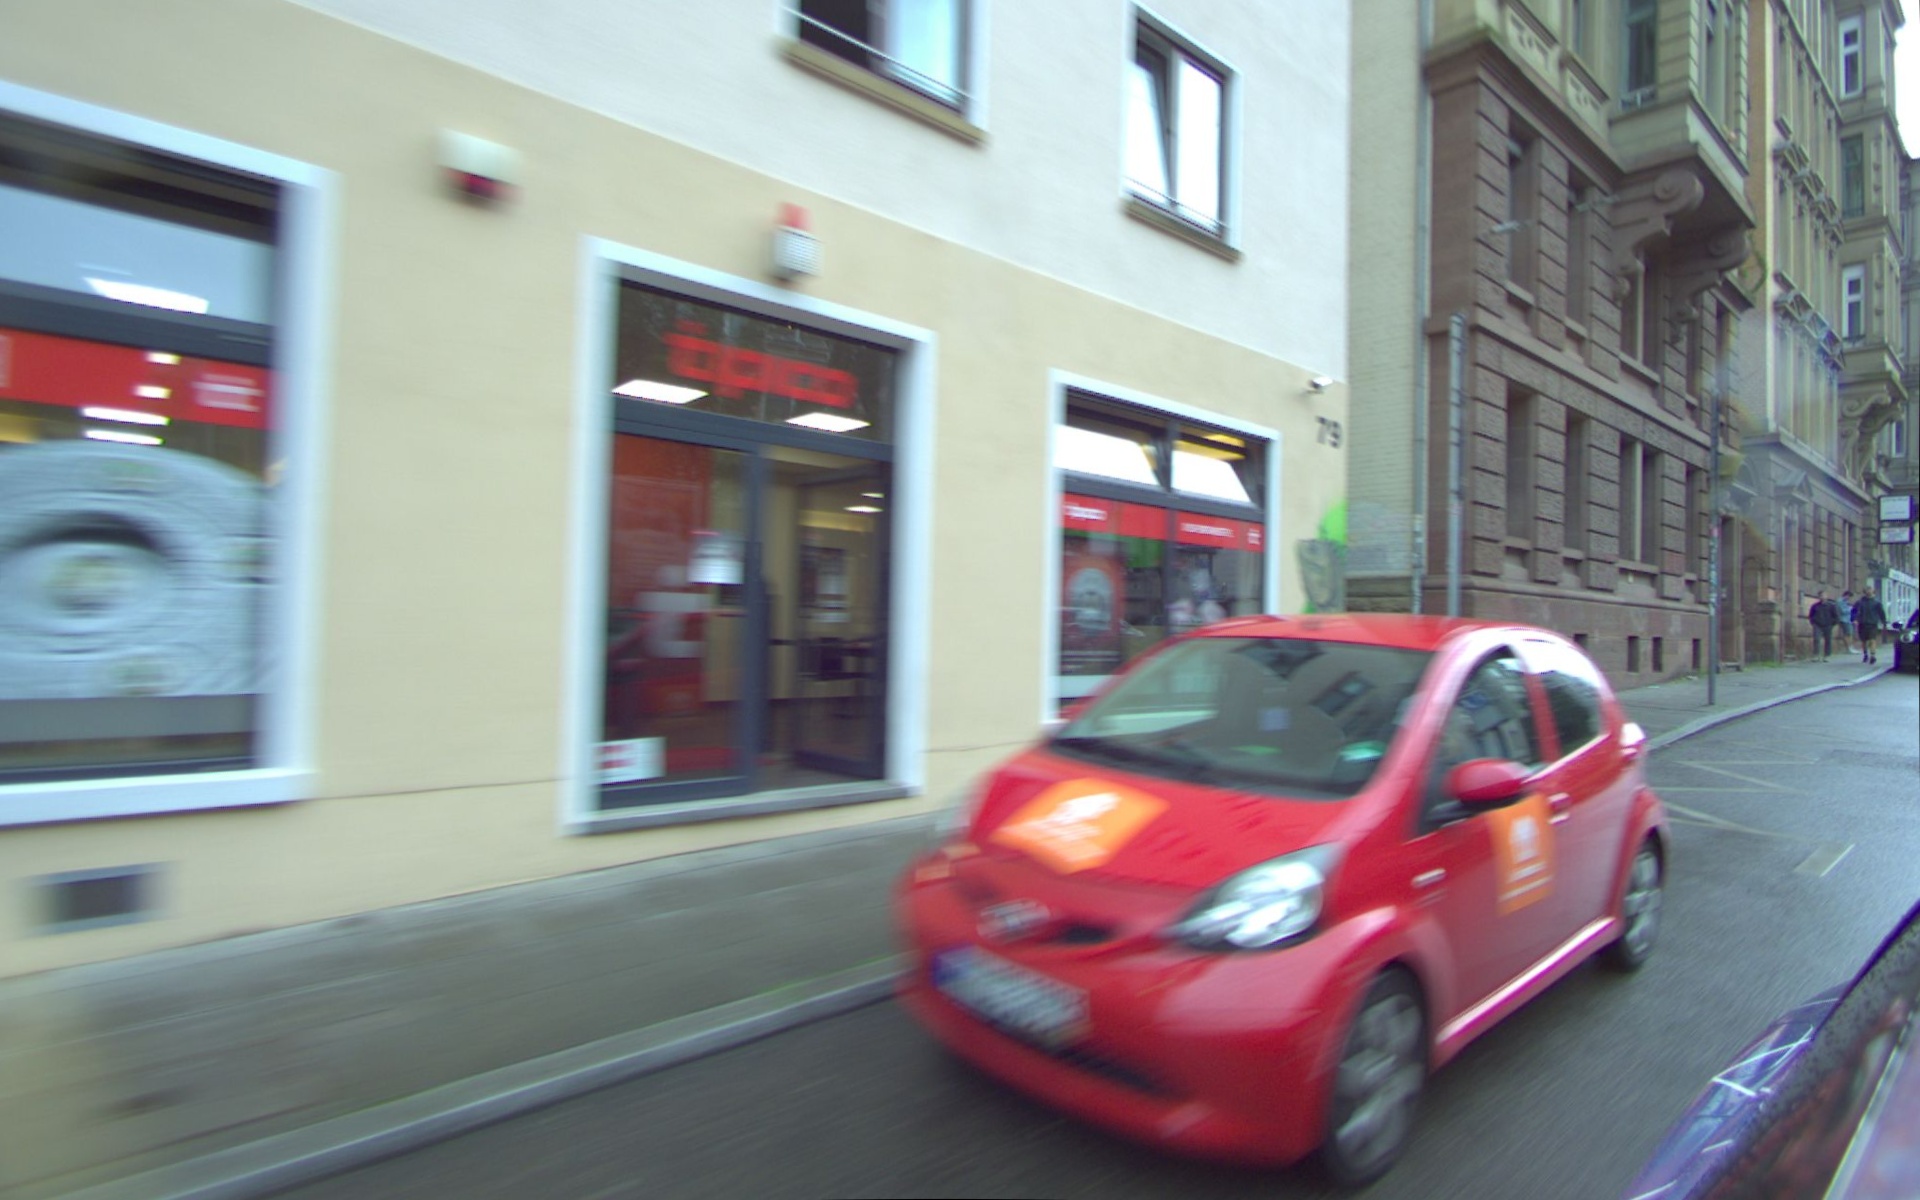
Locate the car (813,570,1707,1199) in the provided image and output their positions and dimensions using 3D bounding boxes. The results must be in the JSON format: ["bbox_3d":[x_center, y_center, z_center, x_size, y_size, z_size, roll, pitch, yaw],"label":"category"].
[{"bbox_3d":[1.338,0.658,3.853,3.384,1.480,1.719,0,1,-40],"label":"car"}]

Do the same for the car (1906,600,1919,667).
[{"bbox_3d":[21.610,0.692,21.724,3.764,1.368,1.625,-1,1,-43],"label":"car"}]

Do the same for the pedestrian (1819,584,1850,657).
[{"bbox_3d":[20.561,0.470,23.791,0.621,1.665,0.488,0,1,-45],"label":"pedestrian"}]

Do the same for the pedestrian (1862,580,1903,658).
[{"bbox_3d":[21.453,0.428,23.544,0.868,1.784,0.652,0,1,-45],"label":"pedestrian"}]

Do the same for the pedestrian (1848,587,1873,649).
[{"bbox_3d":[24.551,0.469,27.587,0.456,1.665,0.484,0,1,-44],"label":"pedestrian"}]
